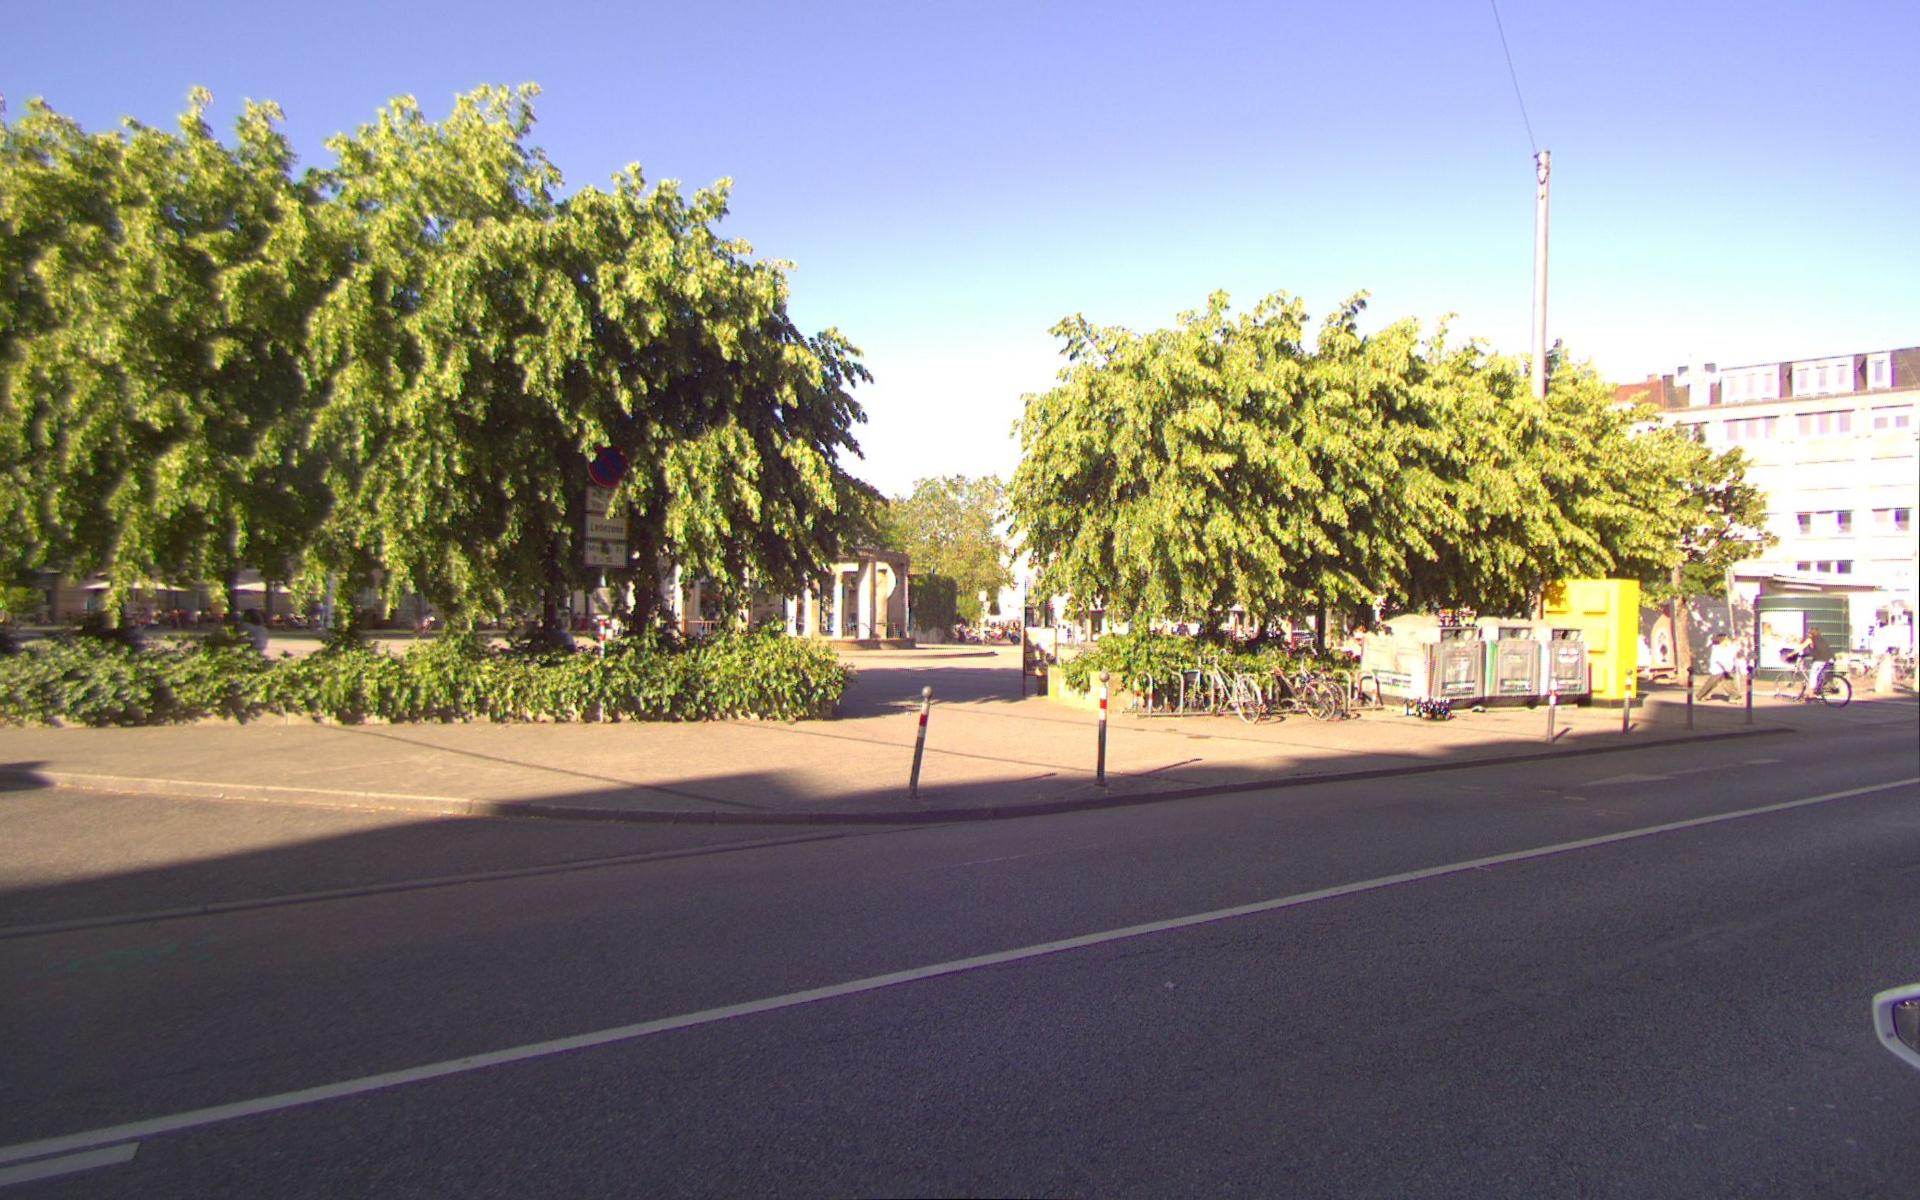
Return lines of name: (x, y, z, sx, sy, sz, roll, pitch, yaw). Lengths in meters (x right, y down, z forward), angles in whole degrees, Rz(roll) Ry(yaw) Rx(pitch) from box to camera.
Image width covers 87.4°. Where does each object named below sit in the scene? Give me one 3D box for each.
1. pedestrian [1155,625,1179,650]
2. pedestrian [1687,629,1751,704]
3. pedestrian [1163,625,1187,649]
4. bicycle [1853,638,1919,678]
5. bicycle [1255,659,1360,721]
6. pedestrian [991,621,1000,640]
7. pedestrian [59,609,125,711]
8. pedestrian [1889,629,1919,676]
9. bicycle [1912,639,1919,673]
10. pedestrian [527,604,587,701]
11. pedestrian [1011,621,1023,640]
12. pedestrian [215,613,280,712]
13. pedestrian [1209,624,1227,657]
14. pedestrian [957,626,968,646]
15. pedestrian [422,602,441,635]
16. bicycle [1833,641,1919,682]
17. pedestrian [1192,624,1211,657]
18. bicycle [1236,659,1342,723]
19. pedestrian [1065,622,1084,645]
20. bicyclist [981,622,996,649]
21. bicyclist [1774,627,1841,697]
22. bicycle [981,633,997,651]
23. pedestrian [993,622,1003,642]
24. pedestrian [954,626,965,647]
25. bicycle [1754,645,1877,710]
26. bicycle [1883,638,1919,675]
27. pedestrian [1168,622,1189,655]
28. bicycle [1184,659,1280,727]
pedestrian: (10.740, 1.944, 52.171, 0.855, 1.230, 0.933, 2, 0, -15)
pedestrian: (16.659, 1.441, 22.055, 0.688, 1.564, 0.915, 2, 0, -35)
pedestrian: (11.285, 1.928, 52.781, 0.885, 1.230, 0.864, 2, 0, -15)
bicycle: (33.146, 2.040, 35.067, 0.923, 1.291, 2.764, 2, 0, -32)
bicycle: (5.676, 1.453, 16.482, 0.465, 0.870, 1.654, 2, 0, -35)
pedestrian: (3.816, 3.287, 107.927, 0.836, 2.040, 0.855, 2, 0, 10)
pedestrian: (-12.856, 0.870, 14.885, 0.615, 1.456, 0.647, 2, 0, -32)
pedestrian: (34.331, 1.871, 35.894, 1.244, 1.633, 1.094, 2, 0, -11)
bicycle: (37.249, 2.156, 37.278, 0.932, 1.276, 2.648, 2, 0, -32)
pedestrian: (-6.603, 0.844, 16.449, 0.688, 1.541, 0.676, 2, 0, -41)
pedestrian: (5.478, 2.908, 95.885, 0.891, 1.845, 0.952, 2, 0, 17)
pedestrian: (-10.848, 0.933, 15.303, 0.581, 1.456, 0.615, 2, 0, 33)
pedestrian: (12.469, 1.949, 48.583, 0.598, 1.528, 0.557, 2, 0, -15)
pedestrian: (0.220, 2.791, 77.532, 0.614, 1.544, 0.579, 2, 0, 24)
pedestrian: (-24.720, 0.866, 46.974, 0.732, 1.550, 0.688, 2, 0, -31)
bicycle: (31.224, 2.064, 33.765, 0.932, 1.211, 2.645, 2, 0, -32)
pedestrian: (11.701, 1.955, 48.685, 0.761, 1.541, 0.838, 2, 0, 6)
bicycle: (5.277, 1.443, 16.186, 0.465, 0.870, 1.659, 2, 0, -35)
pedestrian: (9.630, 2.807, 84.404, 1.277, 1.867, 1.100, 2, 0, 28)
bicyclist: (1.897, 2.356, 66.452, 0.772, 1.722, 0.896, 2, 0, 15)
bicyclist: (19.024, 1.382, 22.567, 0.599, 1.504, 0.954, 2, 0, -20)
bicycle: (1.925, 2.795, 66.498, 0.593, 1.116, 1.990, 2, 0, 14)
pedestrian: (3.919, 3.269, 103.533, 0.836, 2.040, 0.855, 2, 0, 10)
pedestrian: (-0.027, 2.788, 77.001, 0.614, 1.544, 0.579, 2, 0, 25)
bicycle: (19.059, 1.694, 22.430, 0.620, 1.239, 1.991, 3, 1, -20)
bicycle: (35.265, 2.084, 36.133, 0.932, 1.287, 2.859, 2, 0, -32)
pedestrian: (10.786, 1.886, 49.591, 0.904, 1.541, 0.936, 2, 0, 15)
bicycle: (4.178, 1.410, 15.528, 0.464, 0.897, 1.558, 2, 0, -29)
